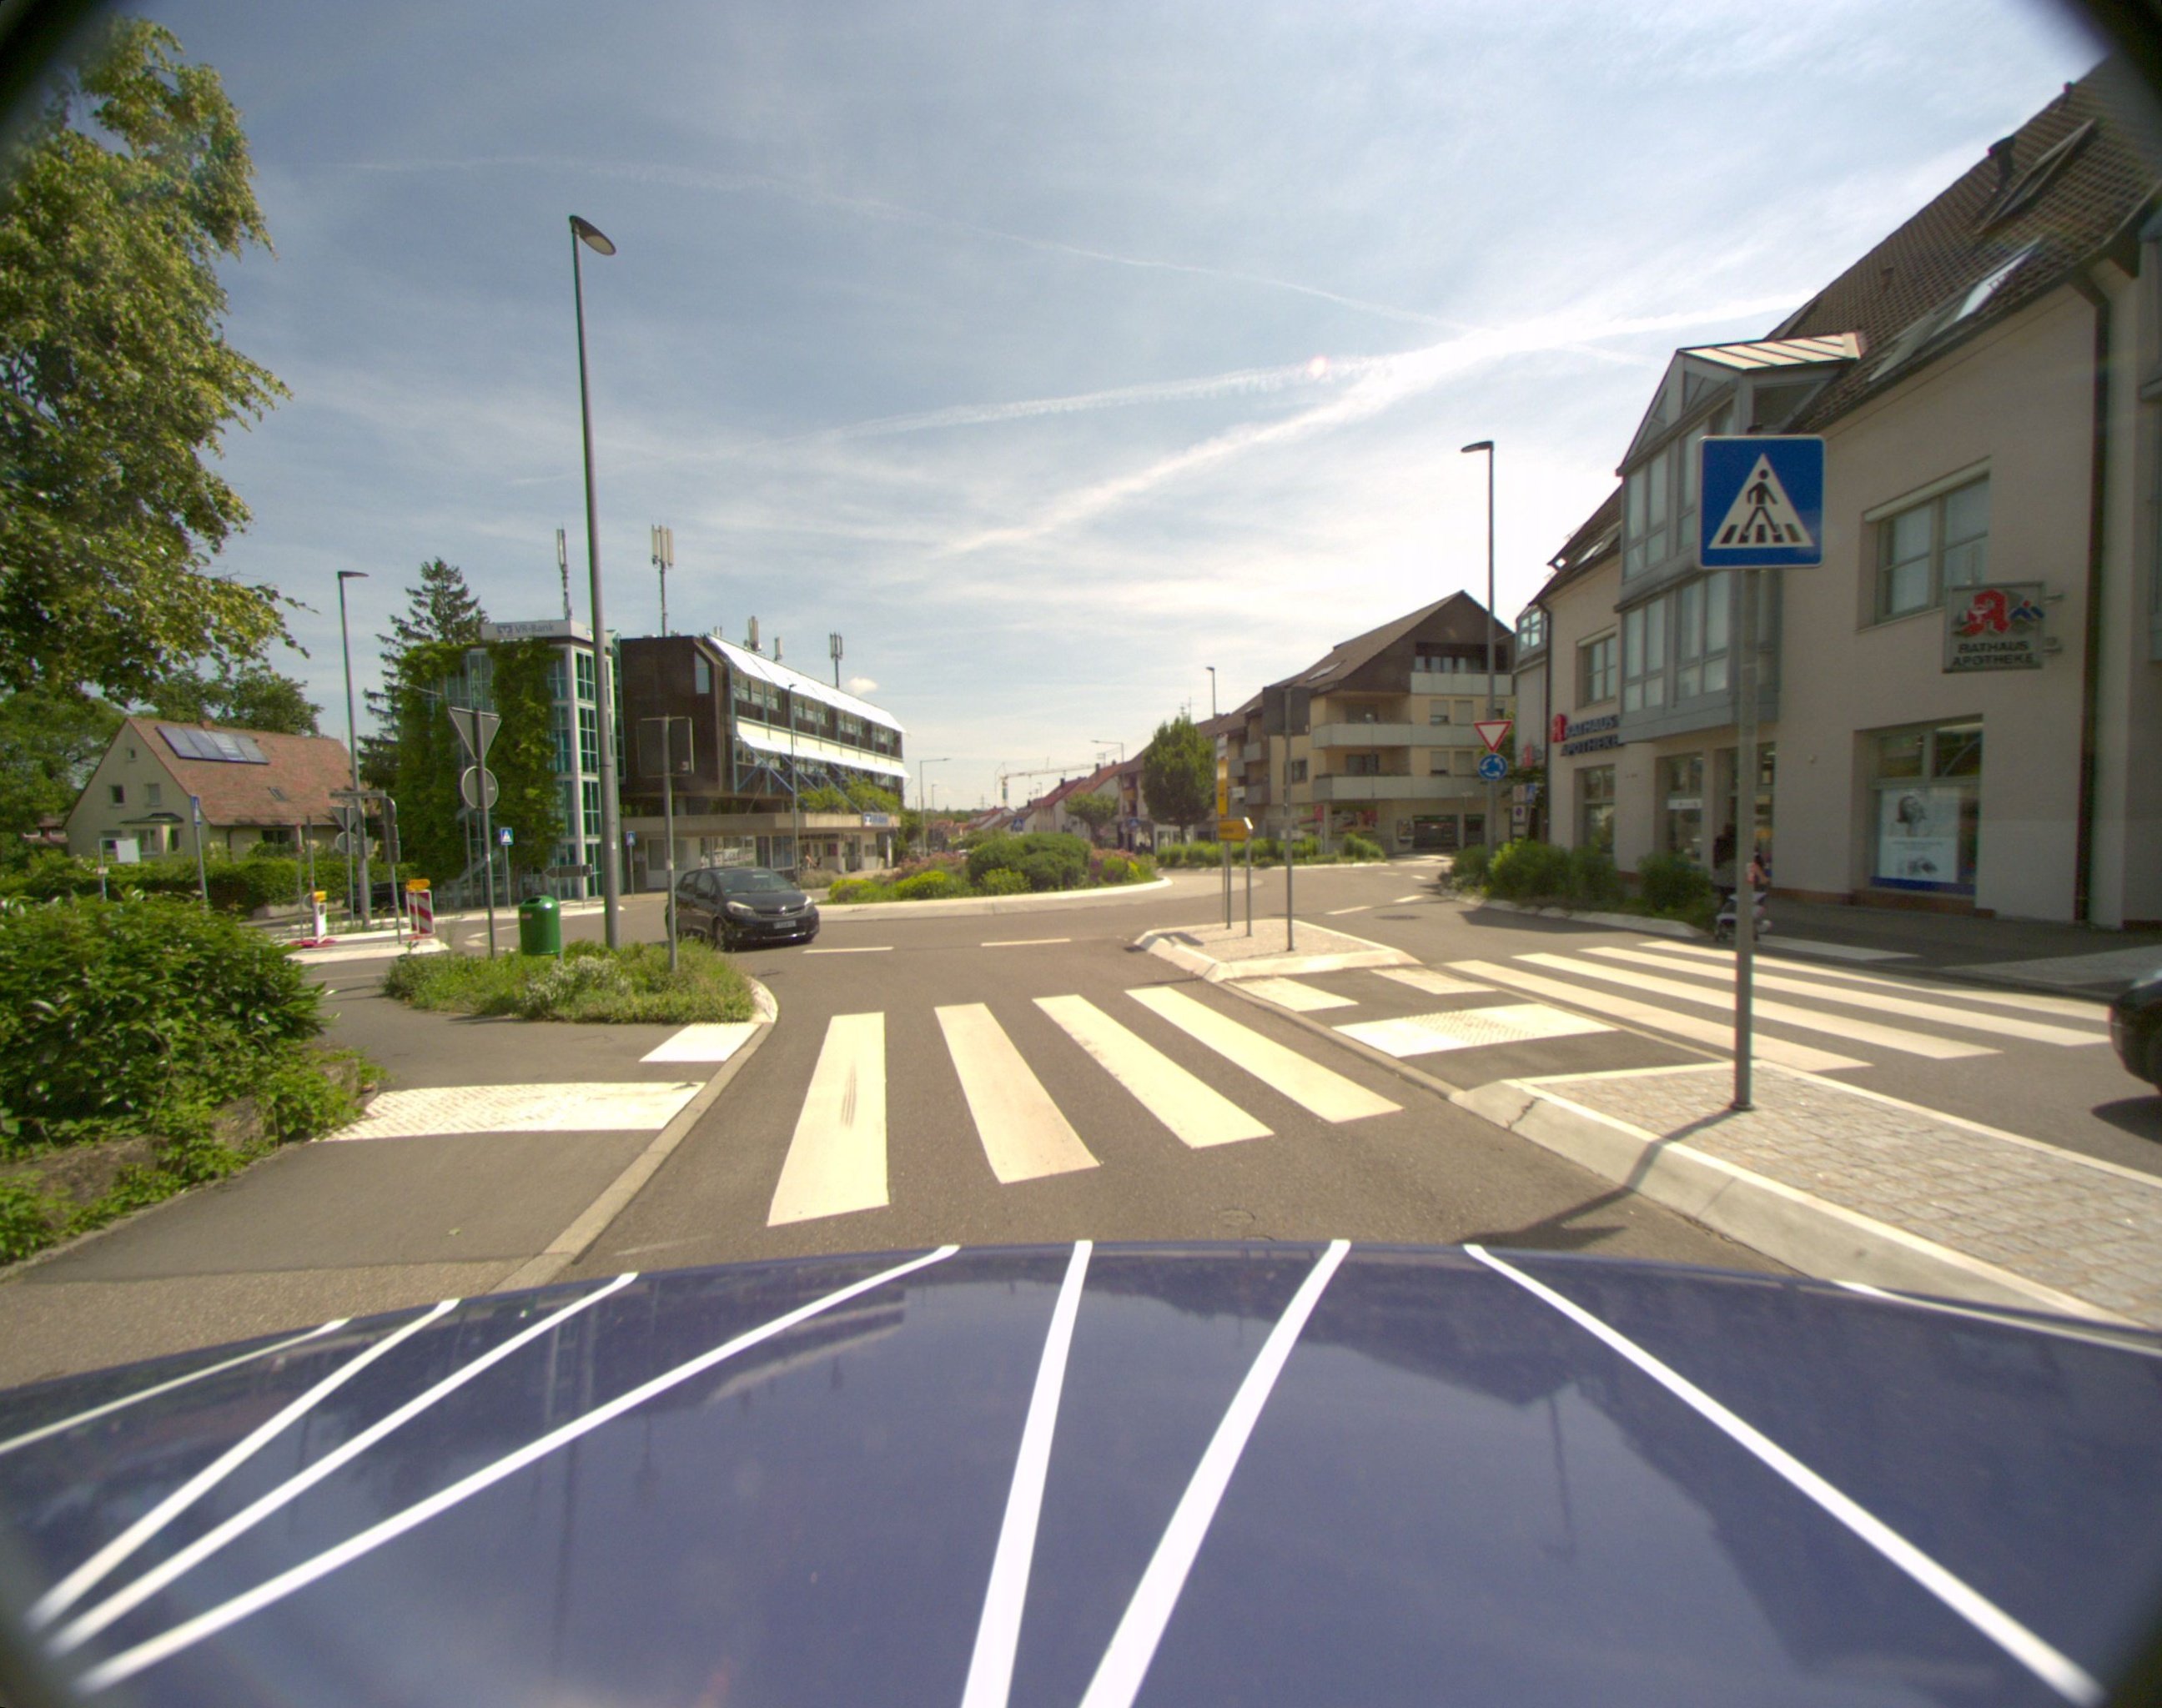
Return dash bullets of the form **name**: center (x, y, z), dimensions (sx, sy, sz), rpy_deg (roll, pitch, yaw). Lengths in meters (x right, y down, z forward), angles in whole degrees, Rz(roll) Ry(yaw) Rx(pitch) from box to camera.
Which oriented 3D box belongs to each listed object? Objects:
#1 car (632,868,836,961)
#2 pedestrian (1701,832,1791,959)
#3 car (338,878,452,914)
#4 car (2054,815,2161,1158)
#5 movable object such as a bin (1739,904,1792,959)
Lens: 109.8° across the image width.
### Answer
- **car**: center (-6.744, 1.050, 14.550), dimensions (4.417, 1.448, 1.730), rpy_deg (-1, 2, 39)
- **pedestrian**: center (8.295, 0.476, 9.482), dimensions (0.800, 1.470, 0.959), rpy_deg (-1, 2, 42)
- **car**: center (-36.833, 2.208, 40.954), dimensions (1.861, 1.429, 4.227), rpy_deg (-3, 3, 9)
- **car**: center (5.764, 0.615, 1.878), dimensions (1.756, 1.575, 3.945), rpy_deg (-2, 1, 2)
- **movable object such as a bin**: center (8.180, 0.918, 9.083), dimensions (0.458, 0.578, 0.469), rpy_deg (-1, 2, 42)
